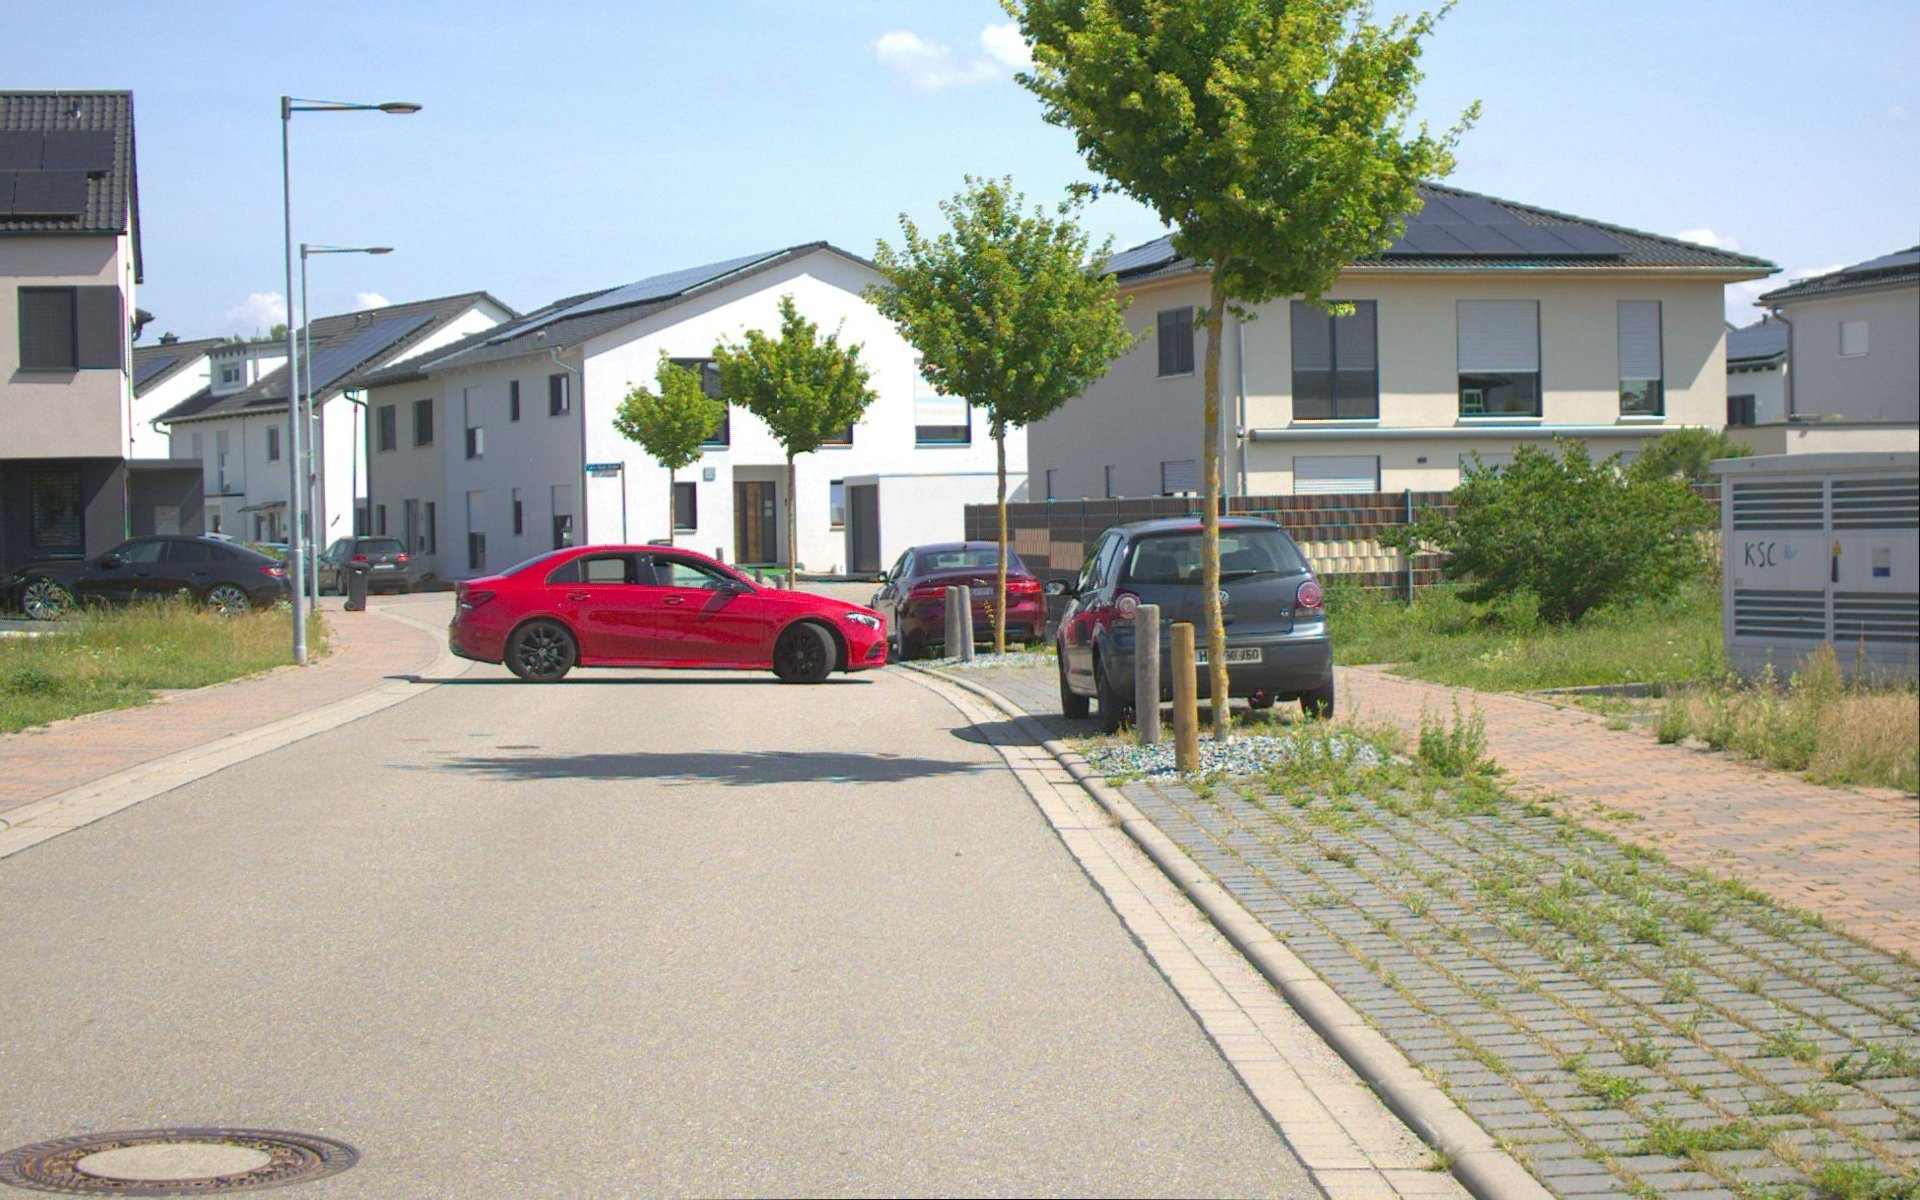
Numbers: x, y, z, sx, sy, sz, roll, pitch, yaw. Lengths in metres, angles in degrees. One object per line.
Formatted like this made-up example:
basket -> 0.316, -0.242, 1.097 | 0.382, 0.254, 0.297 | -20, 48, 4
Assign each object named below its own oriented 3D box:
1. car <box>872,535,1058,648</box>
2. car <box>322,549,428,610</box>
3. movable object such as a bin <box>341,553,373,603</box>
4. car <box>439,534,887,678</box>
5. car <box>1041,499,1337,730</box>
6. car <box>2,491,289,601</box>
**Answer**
car -> 0.001, -0.140, 43.782 | 1.754, 1.358, 4.577 | 0, 1, -8
car -> -14.601, -0.522, 85.606 | 1.726, 1.418, 4.001 | -2, 1, -22
movable object such as a bin -> -11.508, -0.420, 65.624 | 0.534, 0.933, 0.526 | 1, 1, -2
car -> -3.104, 0.038, 35.543 | 4.503, 1.433, 1.769 | 0, 1, -8
car -> 1.582, 0.059, 24.865 | 1.598, 1.470, 3.675 | -3, 1, -4
car -> -13.005, -0.866, 55.126 | 4.374, 1.626, 1.771 | 1, 1, -11
